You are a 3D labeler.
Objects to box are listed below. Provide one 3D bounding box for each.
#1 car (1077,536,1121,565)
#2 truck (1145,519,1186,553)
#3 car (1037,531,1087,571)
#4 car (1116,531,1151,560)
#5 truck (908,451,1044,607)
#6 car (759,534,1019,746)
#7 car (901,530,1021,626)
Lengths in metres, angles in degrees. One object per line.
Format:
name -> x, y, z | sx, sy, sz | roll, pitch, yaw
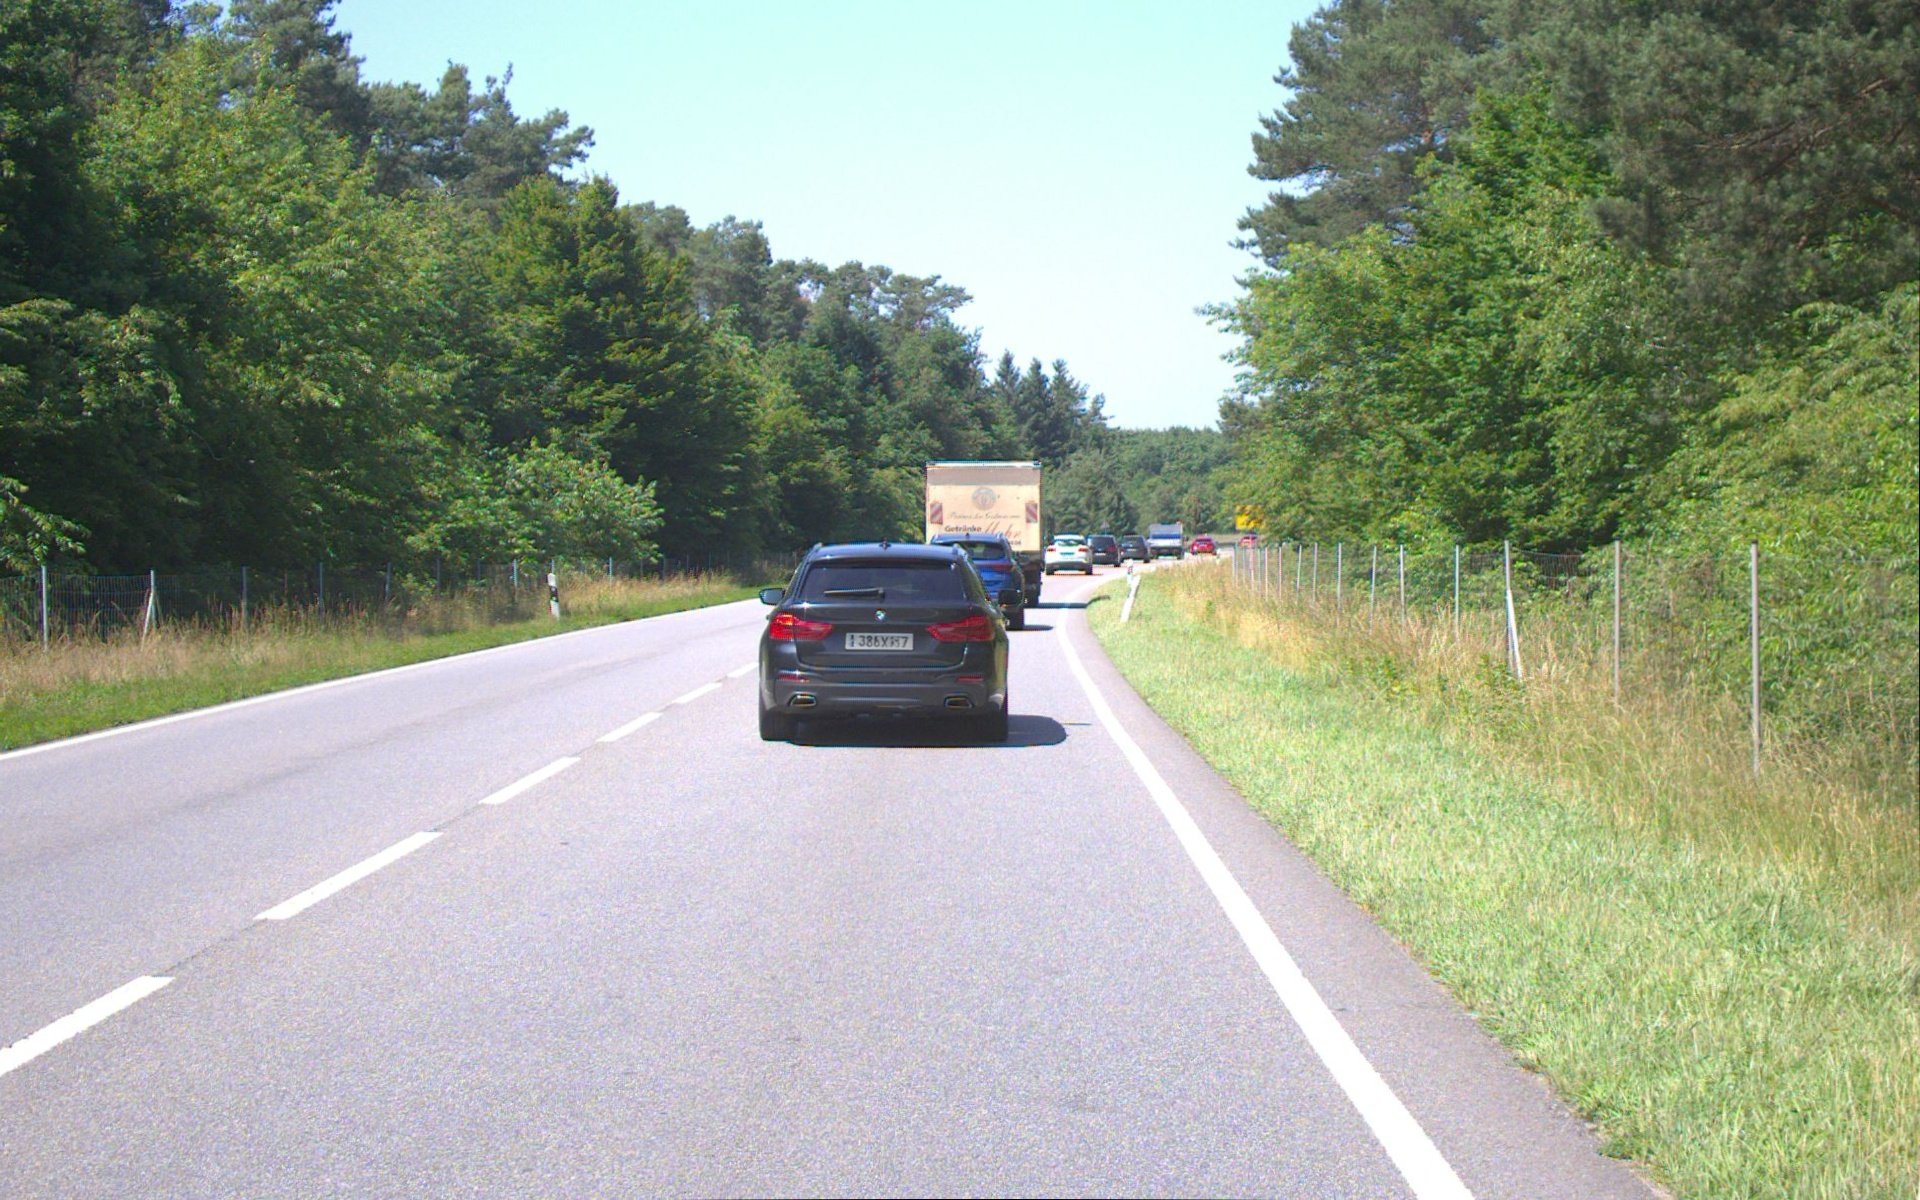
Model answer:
car -> 7.039, -2.495, 173.869 | 1.993, 1.415, 4.000 | 1, 1, -1
truck -> 13.658, -4.251, 228.052 | 2.564, 2.194, 4.973 | -1, 2, 5
car -> 4.215, -2.021, 142.032 | 1.863, 1.600, 4.000 | -1, 1, -1
car -> 10.260, -3.232, 203.516 | 1.994, 1.631, 4.000 | -1, 1, 2
truck -> 0.411, -1.627, 78.352 | 2.966, 3.376, 6.438 | 0, 1, 1
car -> -0.598, 0.248, 26.504 | 1.820, 1.465, 4.001 | 1, 1, -3
car -> -0.008, -0.404, 58.394 | 1.947, 1.536, 4.000 | -1, 1, -1
